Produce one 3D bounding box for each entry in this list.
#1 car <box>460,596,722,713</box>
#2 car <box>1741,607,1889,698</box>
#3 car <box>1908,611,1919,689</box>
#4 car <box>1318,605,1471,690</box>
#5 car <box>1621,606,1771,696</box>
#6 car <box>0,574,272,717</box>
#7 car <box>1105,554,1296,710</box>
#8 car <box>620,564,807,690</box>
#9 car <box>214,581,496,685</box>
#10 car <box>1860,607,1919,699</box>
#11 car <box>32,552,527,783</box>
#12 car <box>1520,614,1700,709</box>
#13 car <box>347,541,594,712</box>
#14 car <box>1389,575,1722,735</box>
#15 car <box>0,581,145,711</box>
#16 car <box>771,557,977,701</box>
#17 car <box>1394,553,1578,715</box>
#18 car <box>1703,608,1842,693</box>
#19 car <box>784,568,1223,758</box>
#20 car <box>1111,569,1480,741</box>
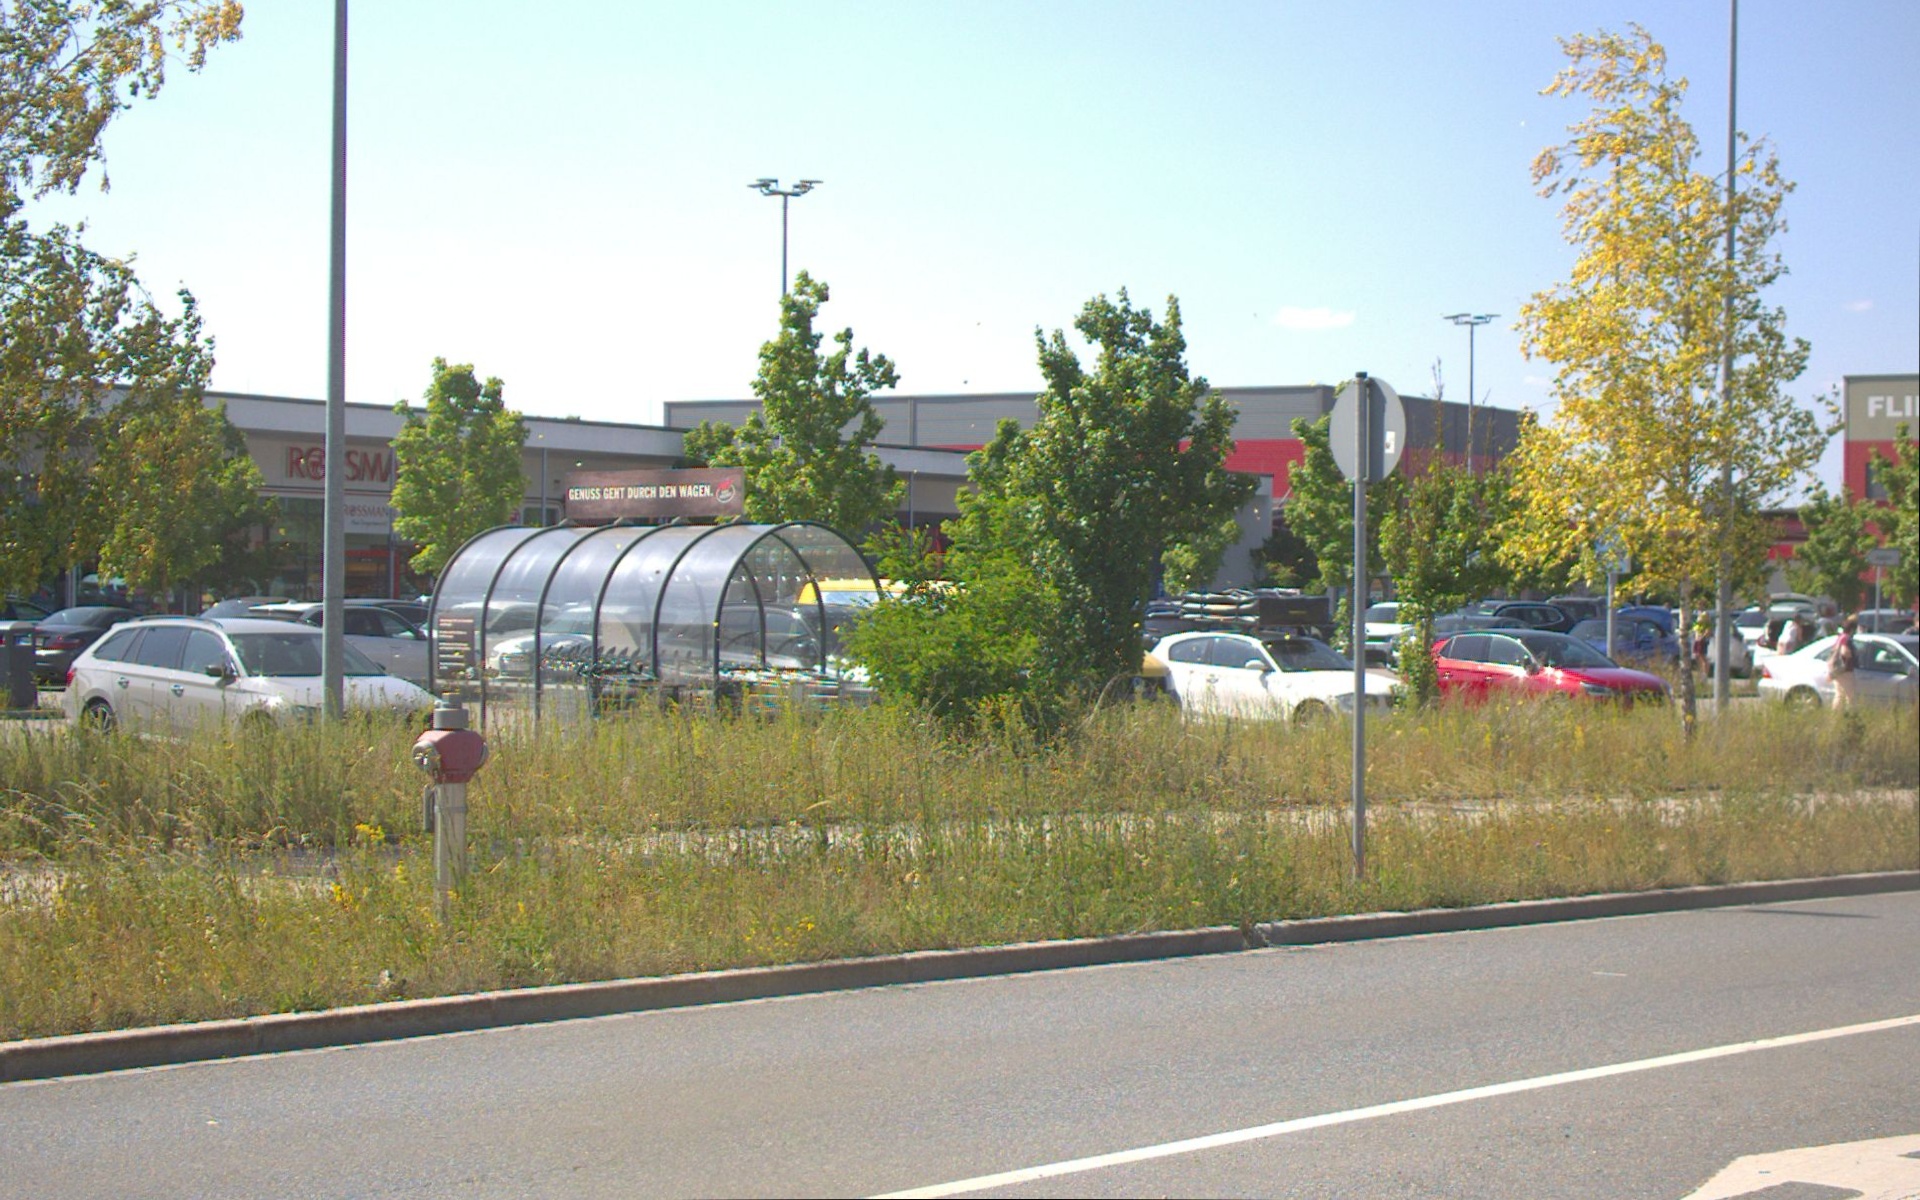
[{"bbox_3d":[-6.107,0.891,57.386,1.997,1.857,4.476,0,-1,32],"label":"car"},{"bbox_3d":[19.771,1.193,79.391,1.997,2.031,4.476,0,-1,32],"label":"car"},{"bbox_3d":[26.901,1.328,91.453,1.997,2.031,4.476,0,-1,32],"label":"car"},{"bbox_3d":[10.692,1.162,84.432,1.997,2.031,4.476,0,-1,32],"label":"car"},{"bbox_3d":[17.310,1.184,80.715,1.997,2.031,4.476,0,-1,32],"label":"car"},{"bbox_3d":[-13.229,0.708,55.052,1.996,2.184,4.478,0,-1,27],"label":"car"},{"bbox_3d":[4.542,0.587,64.319,1.996,2.812,4.478,0,-1,27],"label":"car"},{"bbox_3d":[-5.635,0.617,79.128,1.997,2.812,4.476,0,-1,32],"label":"car"},{"bbox_3d":[-9.131,0.499,52.185,1.653,1.515,4.341,0,-1,34],"label":"car"},{"bbox_3d":[22.191,1.203,78.314,1.997,2.031,4.476,0,-1,32],"label":"car"},{"bbox_3d":[-6.505,0.566,32.460,2.159,2.007,5.113,1,0,-44],"label":"car"},{"bbox_3d":[12.751,1.184,67.284,1.997,1.778,4.307,0,-1,33],"label":"car"},{"bbox_3d":[-8.356,0.458,59.097,1.996,2.812,4.478,0,-1,27],"label":"car"},{"bbox_3d":[7.900,0.703,45.894,1.877,2.007,4.137,1,0,-39],"label":"car"},{"bbox_3d":[-15.865,0.745,56.696,1.998,2.095,4.475,0,-1,37],"label":"car"},{"bbox_3d":[-1.702,0.579,69.610,1.997,2.812,4.476,0,-1,32],"label":"car"},{"bbox_3d":[9.519,0.607,61.948,1.996,2.812,4.478,0,-1,27],"label":"car"},{"bbox_3d":[20.236,1.238,85.469,1.997,2.031,4.476,0,-1,32],"label":"car"},{"bbox_3d":[0.420,0.664,39.336,2.158,2.007,5.114,1,0,-41],"label":"car"},{"bbox_3d":[4.121,0.649,42.787,1.938,2.007,4.408,1,0,-41],"label":"car"}]
